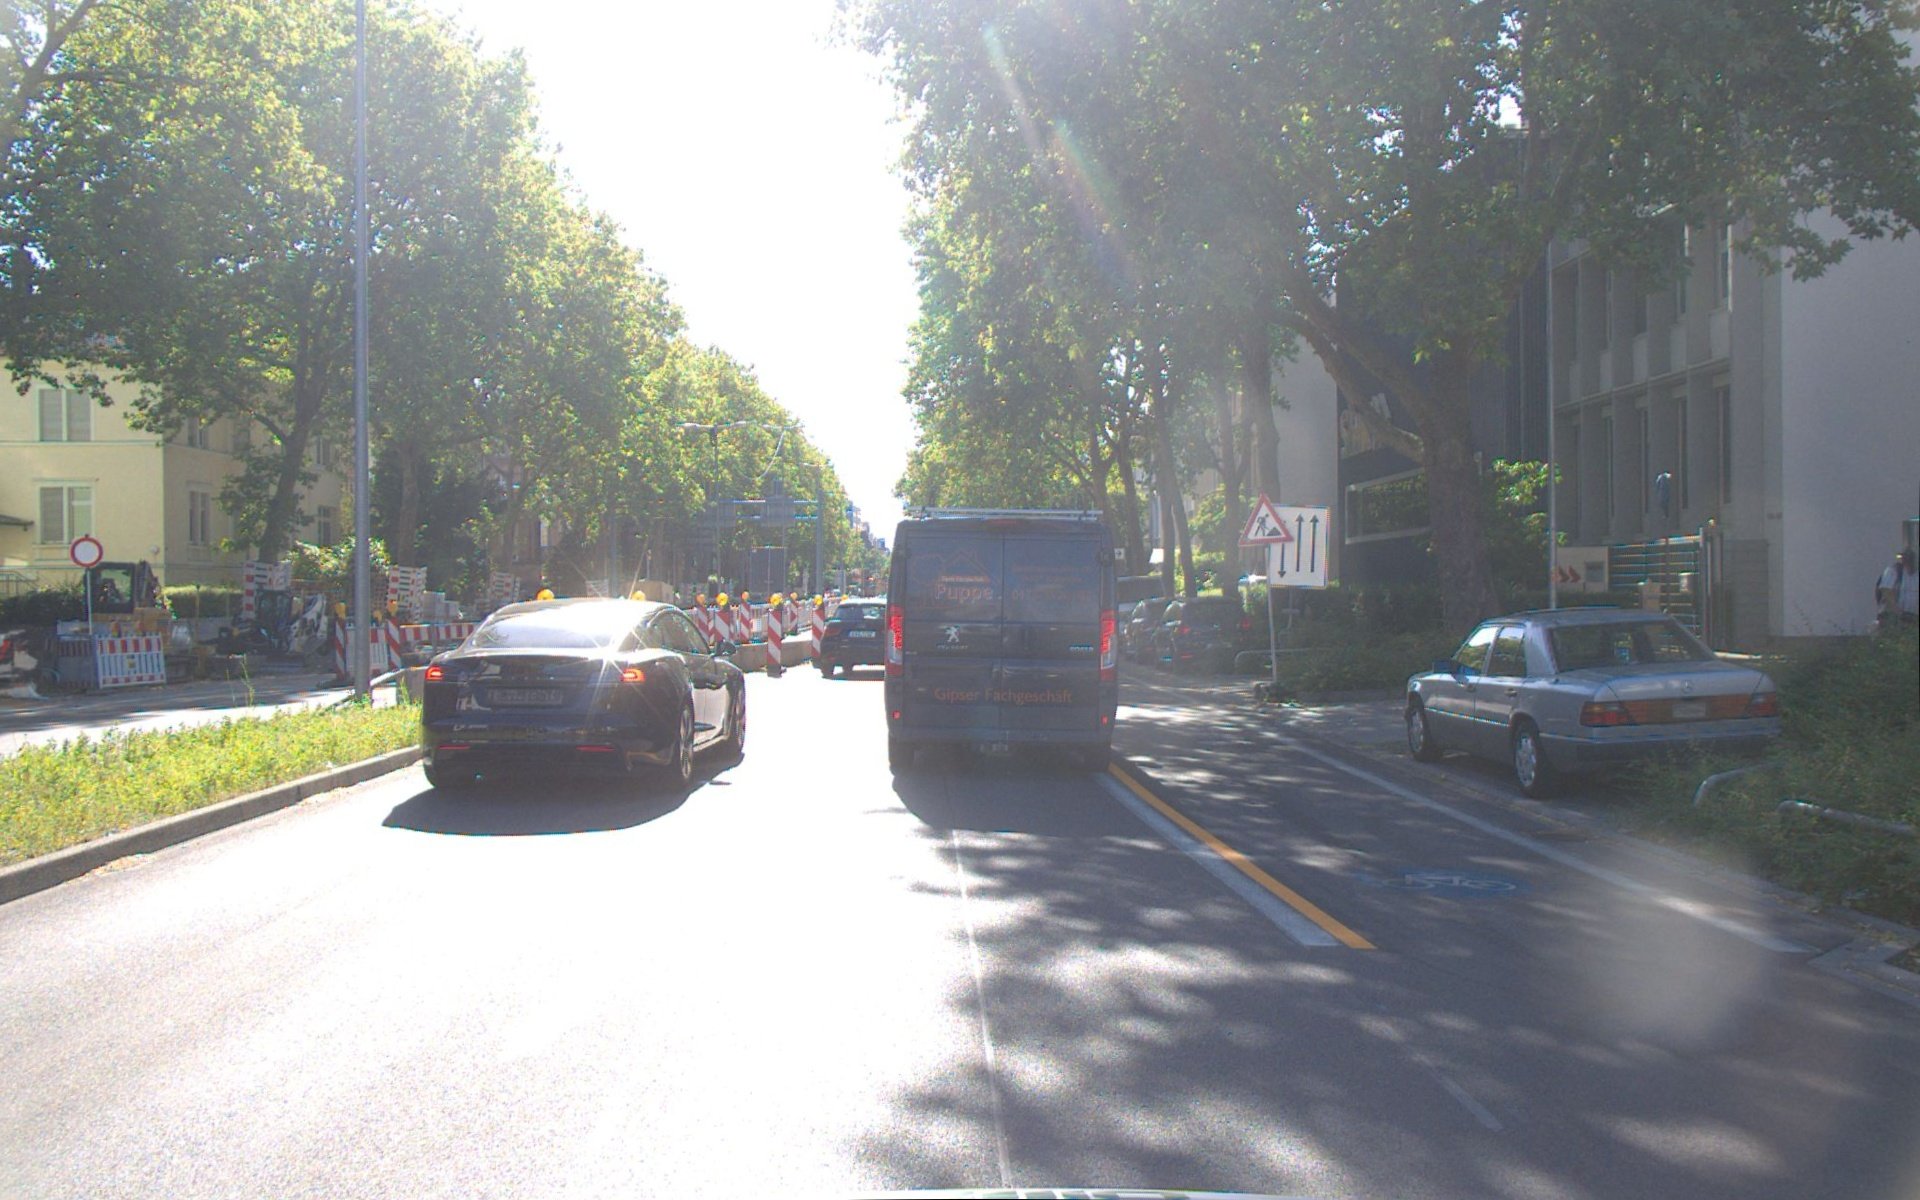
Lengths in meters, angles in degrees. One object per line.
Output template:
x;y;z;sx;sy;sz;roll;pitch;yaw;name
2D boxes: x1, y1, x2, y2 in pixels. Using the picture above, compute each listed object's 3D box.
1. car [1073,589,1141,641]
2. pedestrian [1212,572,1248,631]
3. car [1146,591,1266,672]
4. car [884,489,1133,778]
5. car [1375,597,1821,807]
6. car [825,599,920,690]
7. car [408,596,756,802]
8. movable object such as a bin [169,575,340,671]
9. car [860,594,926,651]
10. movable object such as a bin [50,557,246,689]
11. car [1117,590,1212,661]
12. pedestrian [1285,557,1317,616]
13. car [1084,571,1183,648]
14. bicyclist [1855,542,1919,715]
4.510;0.434;51.179;1.712;1.503;4.101;-1;0;0;car
7.672;0.044;47.037;0.714;1.630;1.265;0;0;-7;pedestrian
4.945;0.590;33.761;1.728;1.534;4.249;0;0;-2;car
0.393;0.251;15.675;2.052;2.396;3.933;0;1;0;car
5.282;0.734;14.541;1.815;1.505;4.939;0;0;-3;car
-1.701;0.807;32.178;1.711;1.431;3.999;1;3;-3;car
-2.940;0.690;13.931;1.886;1.436;4.625;0;0;0;car
-18.406;0.564;43.470;1.952;2.318;5.599;-1;0;1;movable object such as a bin
-1.814;0.572;43.980;1.518;1.450;3.550;-1;0;-6;car
-18.146;0.472;37.295;2.104;2.753;5.350;0;0;-4;movable object such as a bin
4.733;0.556;38.747;1.624;1.567;4.127;0;0;-2;car
10.006;-0.391;48.567;0.692;1.677;0.675;2;3;-5;pedestrian
4.685;0.234;45.436;1.985;1.980;5.271;0;0;-2;car
10.532;0.297;18.262;0.709;1.852;1.070;0;0;-1;bicyclist
